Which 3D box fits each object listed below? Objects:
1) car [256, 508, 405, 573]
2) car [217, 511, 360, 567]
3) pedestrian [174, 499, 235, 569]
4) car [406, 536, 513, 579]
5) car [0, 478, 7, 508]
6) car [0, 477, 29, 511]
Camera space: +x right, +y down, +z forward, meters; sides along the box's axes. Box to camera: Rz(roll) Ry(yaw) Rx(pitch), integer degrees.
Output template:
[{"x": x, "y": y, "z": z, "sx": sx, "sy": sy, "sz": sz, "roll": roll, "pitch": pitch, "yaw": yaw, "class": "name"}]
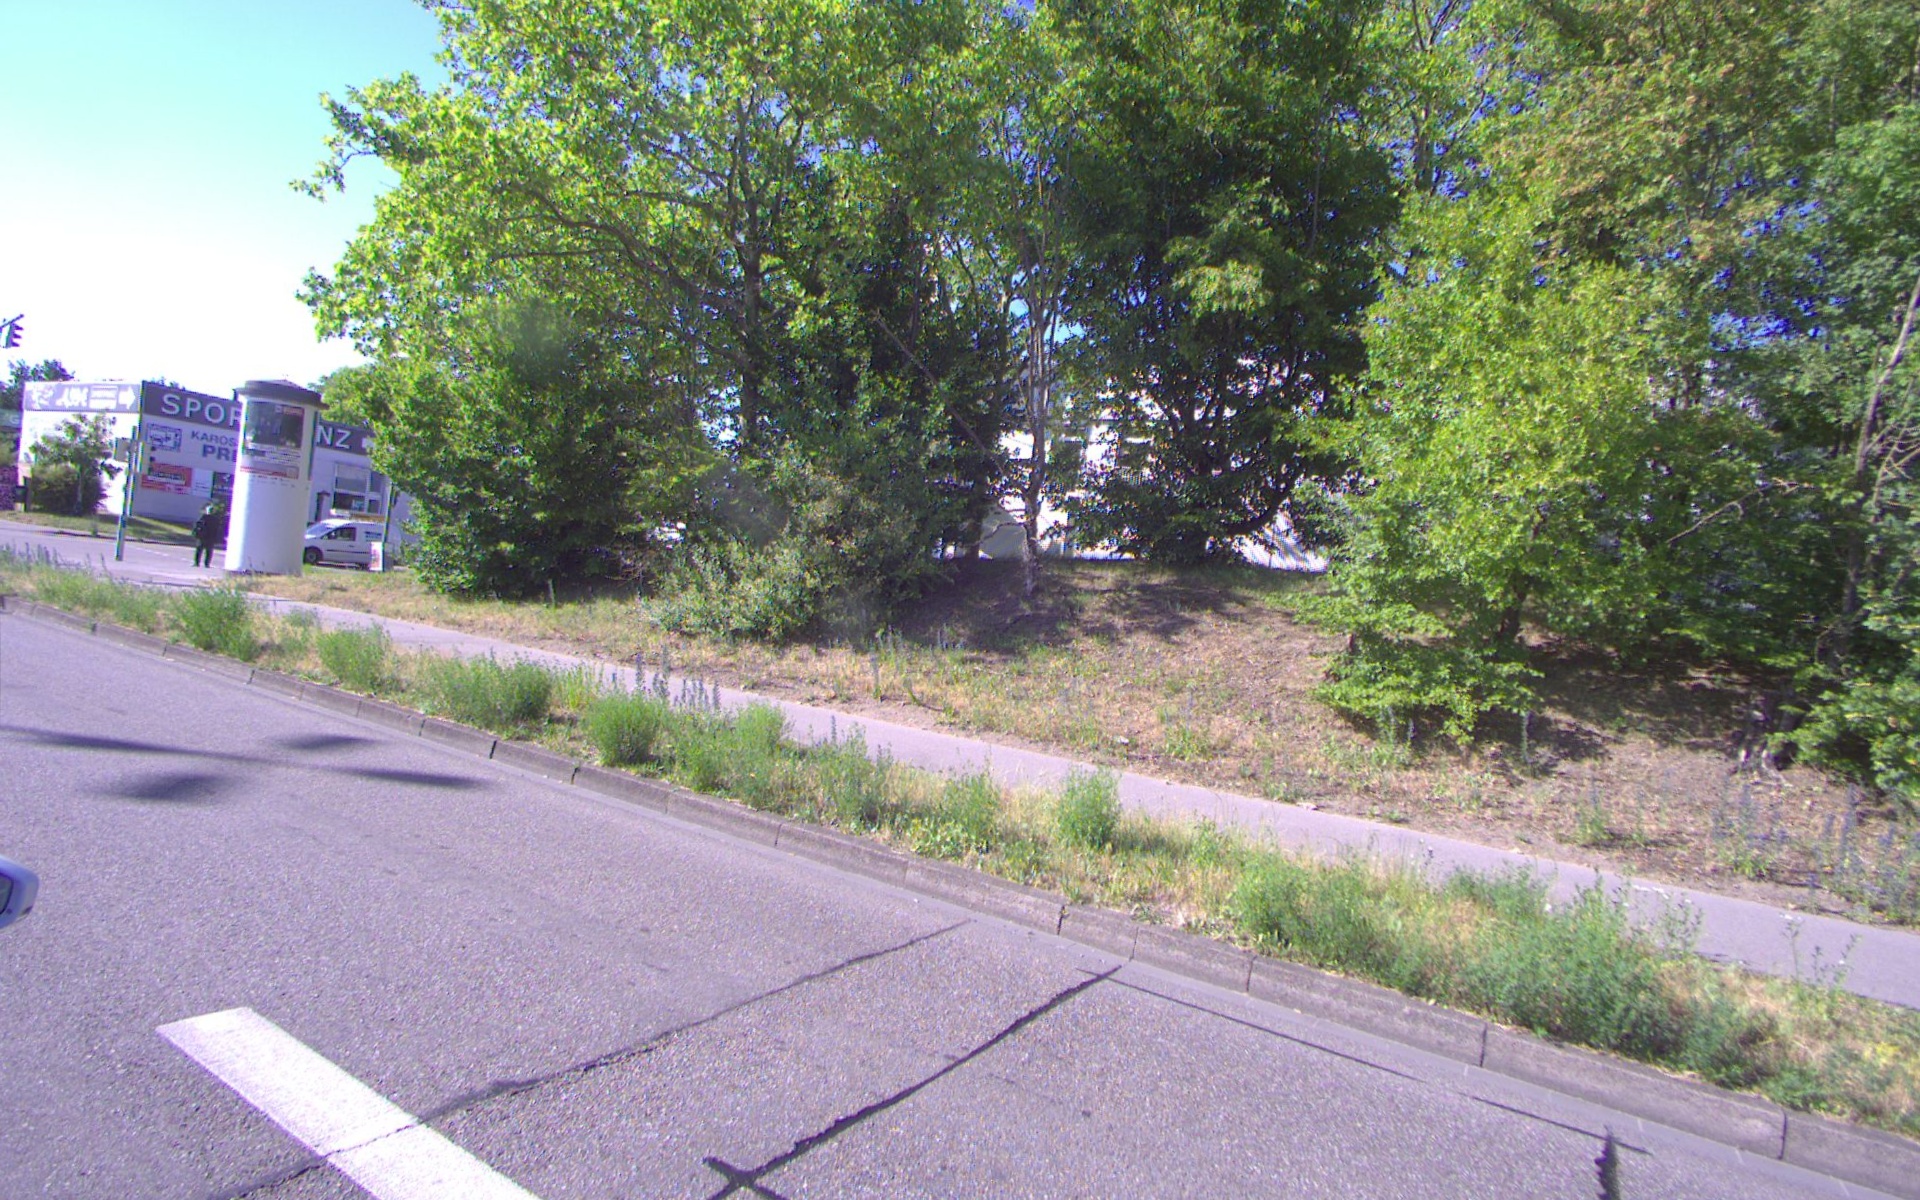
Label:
[{"x": -23.841, "y": -2.202, "z": 38.265, "sx": 1.735, "sy": 1.824, "sz": 4.387, "roll": 9, "pitch": 1, "yaw": 30, "class": "car"}, {"x": -26.617, "y": -2.378, "z": 40.013, "sx": 1.735, "sy": 1.568, "sz": 4.292, "roll": 9, "pitch": 1, "yaw": 30, "class": "car"}, {"x": -21.058, "y": -1.828, "z": 28.039, "sx": 0.923, "sy": 1.755, "sz": 0.927, "roll": 6, "pitch": -1, "yaw": 31, "class": "pedestrian"}, {"x": -23.000, "y": -1.941, "z": 46.348, "sx": 1.752, "sy": 1.509, "sz": 4.046, "roll": 7, "pitch": 1, "yaw": 30, "class": "car"}, {"x": -49.237, "y": -5.492, "z": 48.462, "sx": 1.828, "sy": 1.472, "sz": 4.490, "roll": 7, "pitch": 1, "yaw": 33, "class": "car"}, {"x": -46.886, "y": -5.225, "z": 47.093, "sx": 1.828, "sy": 1.472, "sz": 4.490, "roll": 7, "pitch": 1, "yaw": 33, "class": "car"}]
